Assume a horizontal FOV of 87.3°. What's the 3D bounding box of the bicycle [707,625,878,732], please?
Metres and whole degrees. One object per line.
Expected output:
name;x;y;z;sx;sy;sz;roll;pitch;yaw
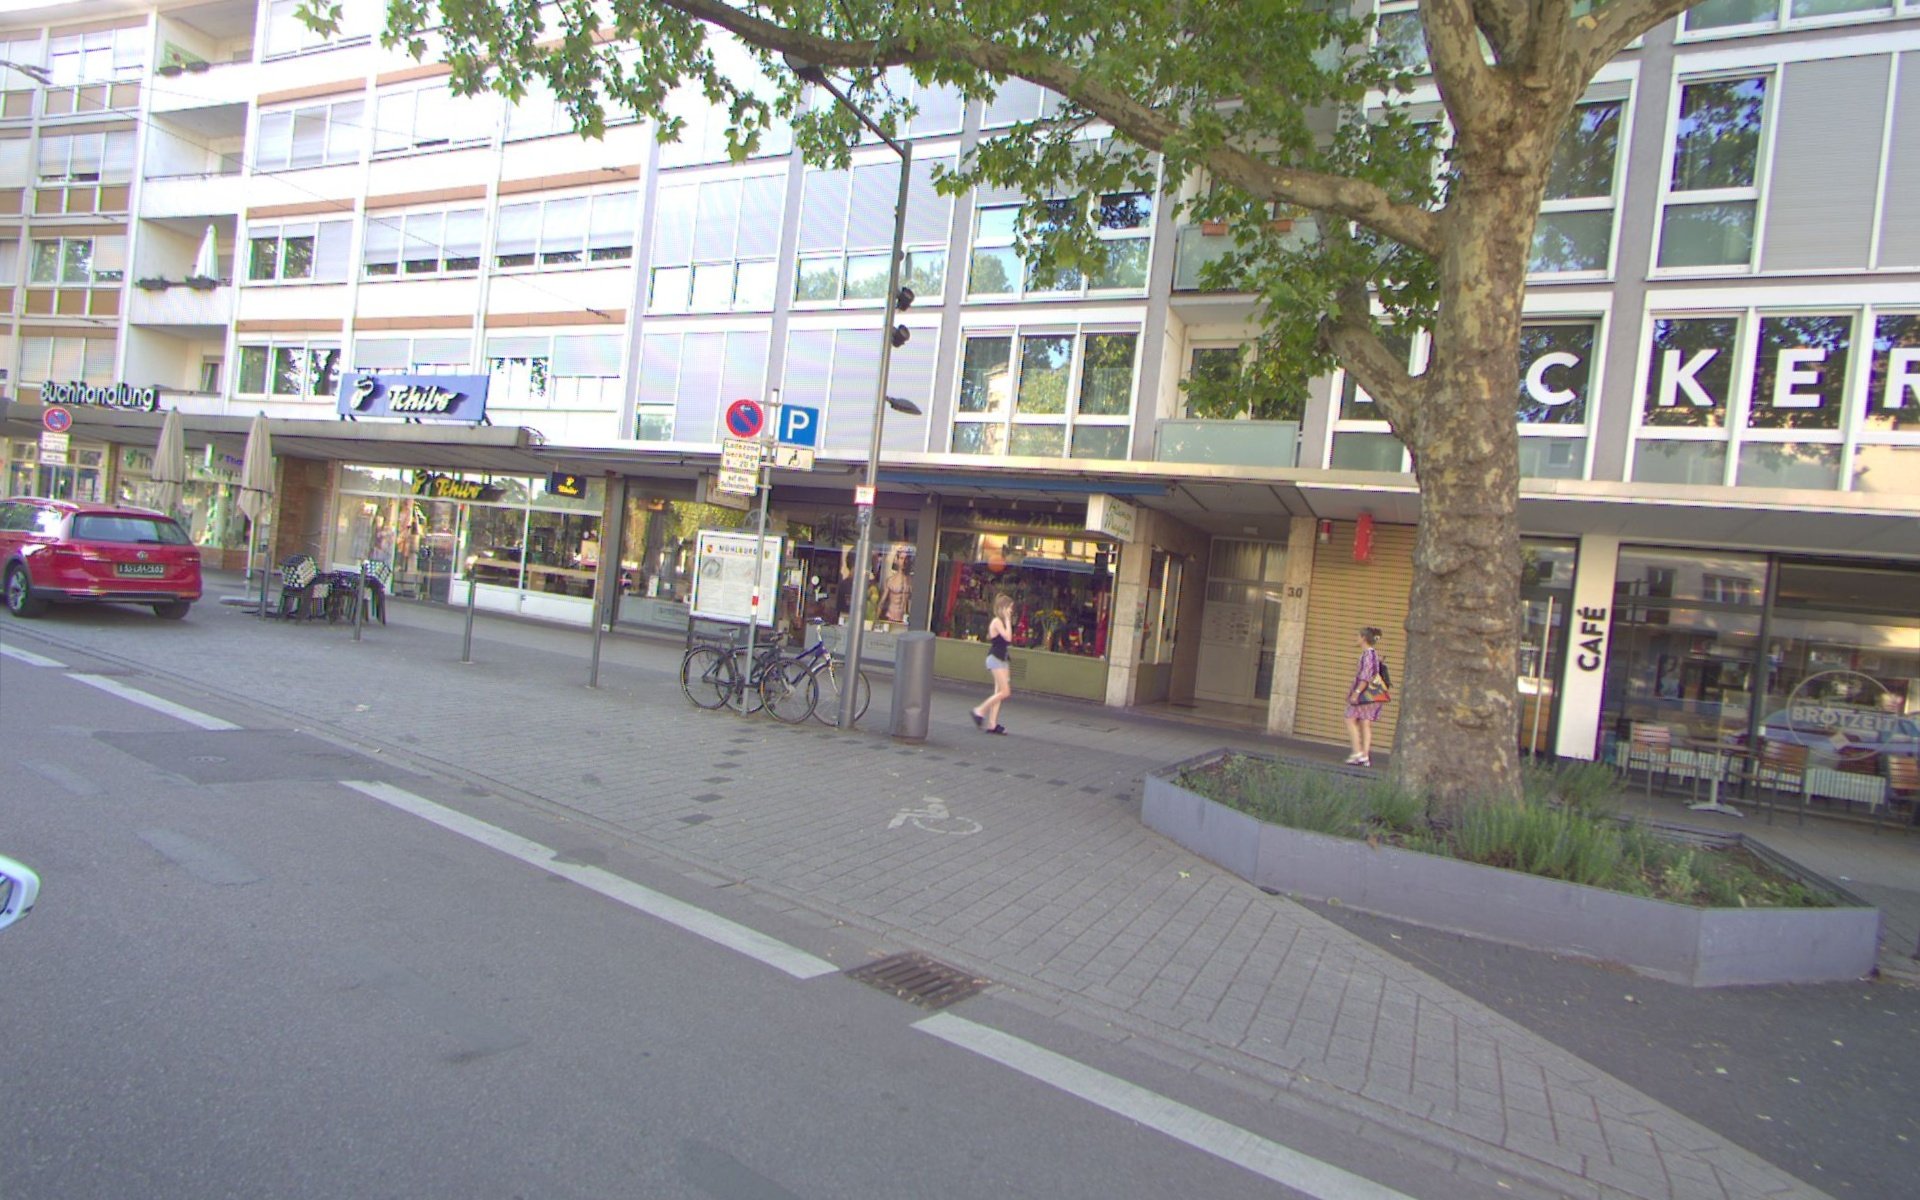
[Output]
bicycle;-1.822;0.840;10.964;1.743;0.931;0.391;6;2;12

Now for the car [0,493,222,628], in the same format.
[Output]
car;-12.320;-0.613;13.843;4.229;1.502;1.772;7;1;28

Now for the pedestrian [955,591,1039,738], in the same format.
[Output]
pedestrian;0.431;0.740;11.635;0.631;1.596;0.560;7;1;26

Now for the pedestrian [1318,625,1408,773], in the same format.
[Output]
pedestrian;4.772;1.142;11.901;0.776;1.613;0.651;7;3;26

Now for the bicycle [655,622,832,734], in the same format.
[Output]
bicycle;-2.289;0.803;10.623;1.743;0.951;0.391;6;2;12
